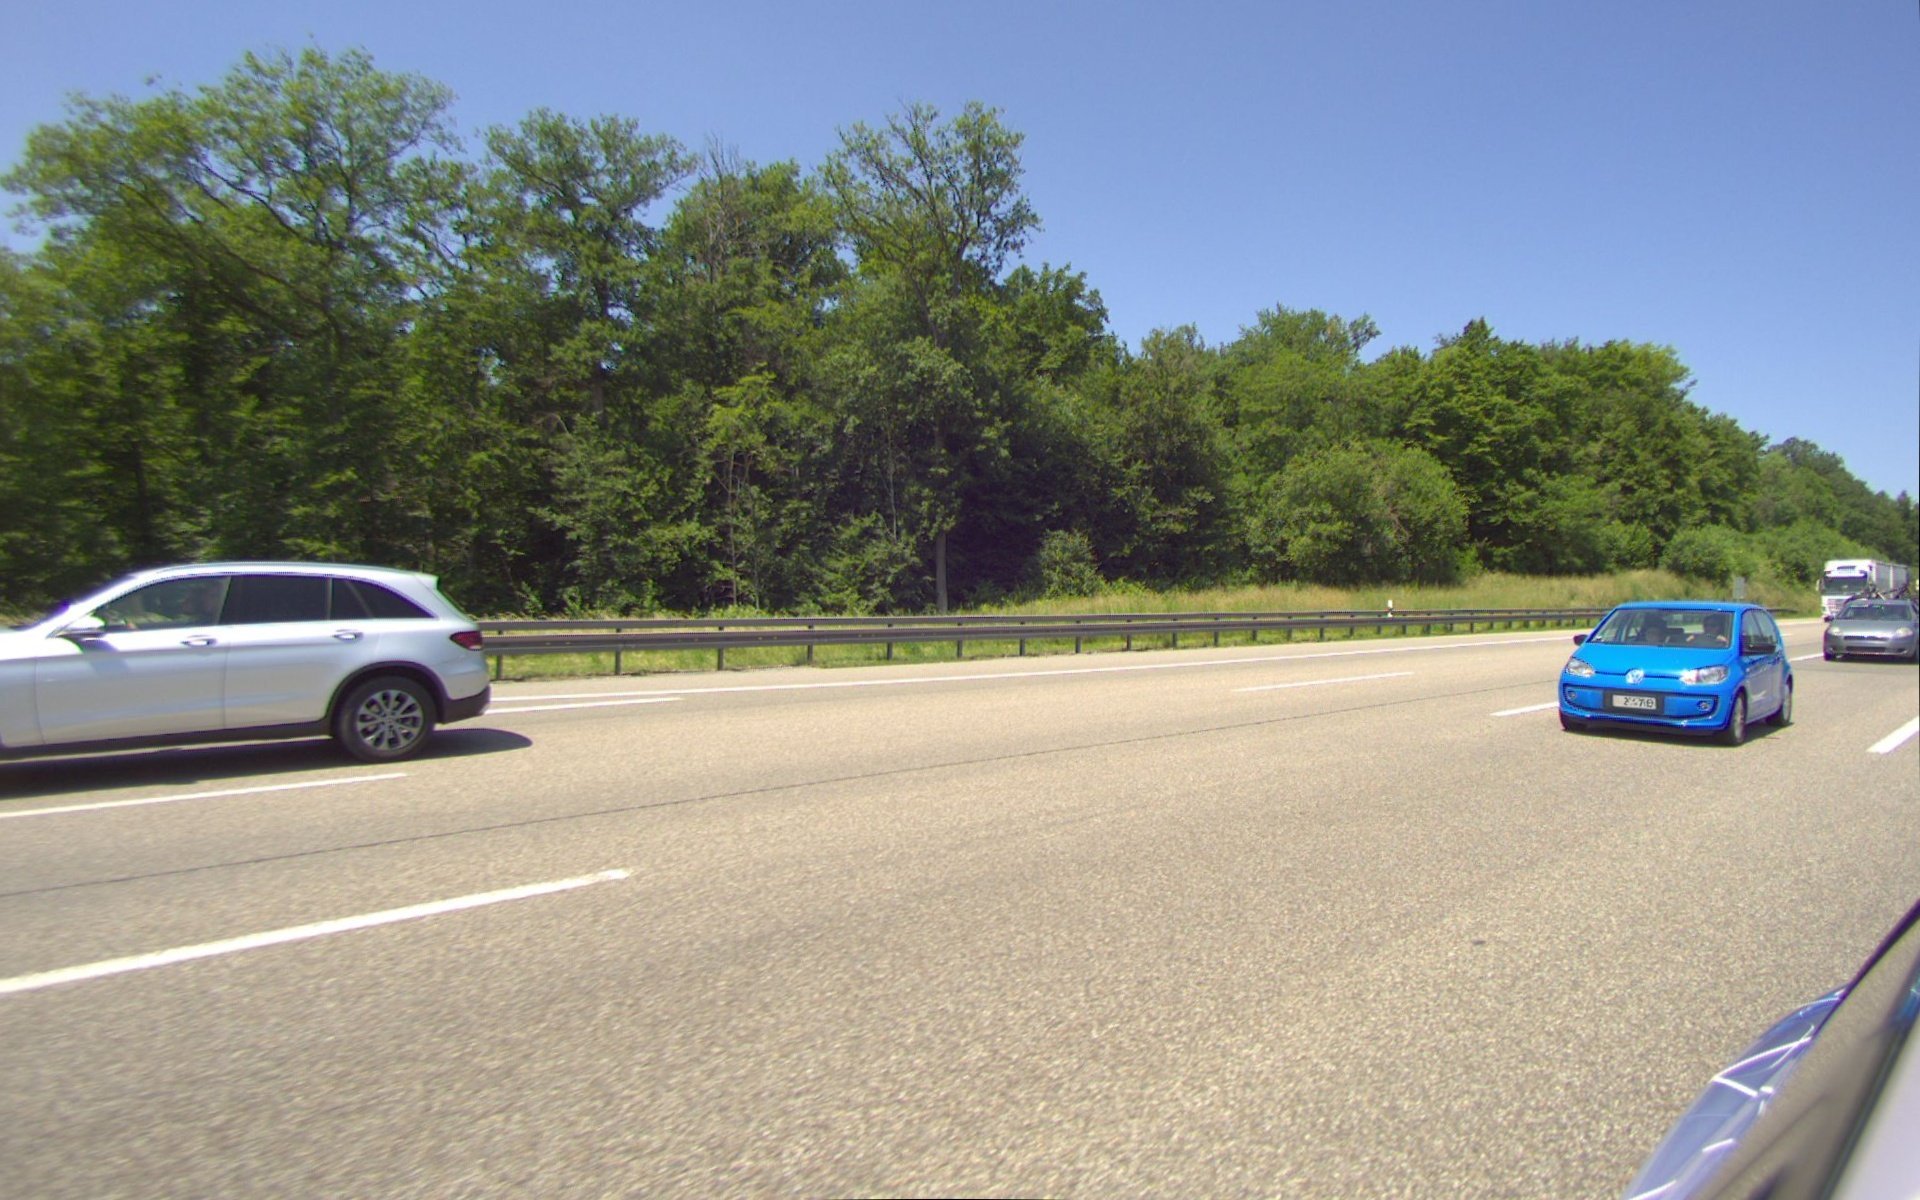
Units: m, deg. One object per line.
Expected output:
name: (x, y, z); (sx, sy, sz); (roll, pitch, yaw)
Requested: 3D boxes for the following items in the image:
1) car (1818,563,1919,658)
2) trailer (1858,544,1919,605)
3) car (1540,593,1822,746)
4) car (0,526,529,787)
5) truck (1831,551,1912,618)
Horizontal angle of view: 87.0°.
car: (22.328, 0.257, 24.248); (4.699, 2.080, 1.965); (1, -1, -41)
trailer: (67.856, -1.775, 73.673); (8.234, 4.122, 2.583); (1, -1, -41)
car: (8.371, 0.665, 11.634); (3.929, 1.429, 1.741); (0, 1, -41)
car: (-6.397, 0.390, 8.055); (5.147, 1.753, 1.804); (1, -1, -41)
truck: (61.510, -0.921, 68.213); (10.775, 4.214, 2.727); (1, -1, -41)
